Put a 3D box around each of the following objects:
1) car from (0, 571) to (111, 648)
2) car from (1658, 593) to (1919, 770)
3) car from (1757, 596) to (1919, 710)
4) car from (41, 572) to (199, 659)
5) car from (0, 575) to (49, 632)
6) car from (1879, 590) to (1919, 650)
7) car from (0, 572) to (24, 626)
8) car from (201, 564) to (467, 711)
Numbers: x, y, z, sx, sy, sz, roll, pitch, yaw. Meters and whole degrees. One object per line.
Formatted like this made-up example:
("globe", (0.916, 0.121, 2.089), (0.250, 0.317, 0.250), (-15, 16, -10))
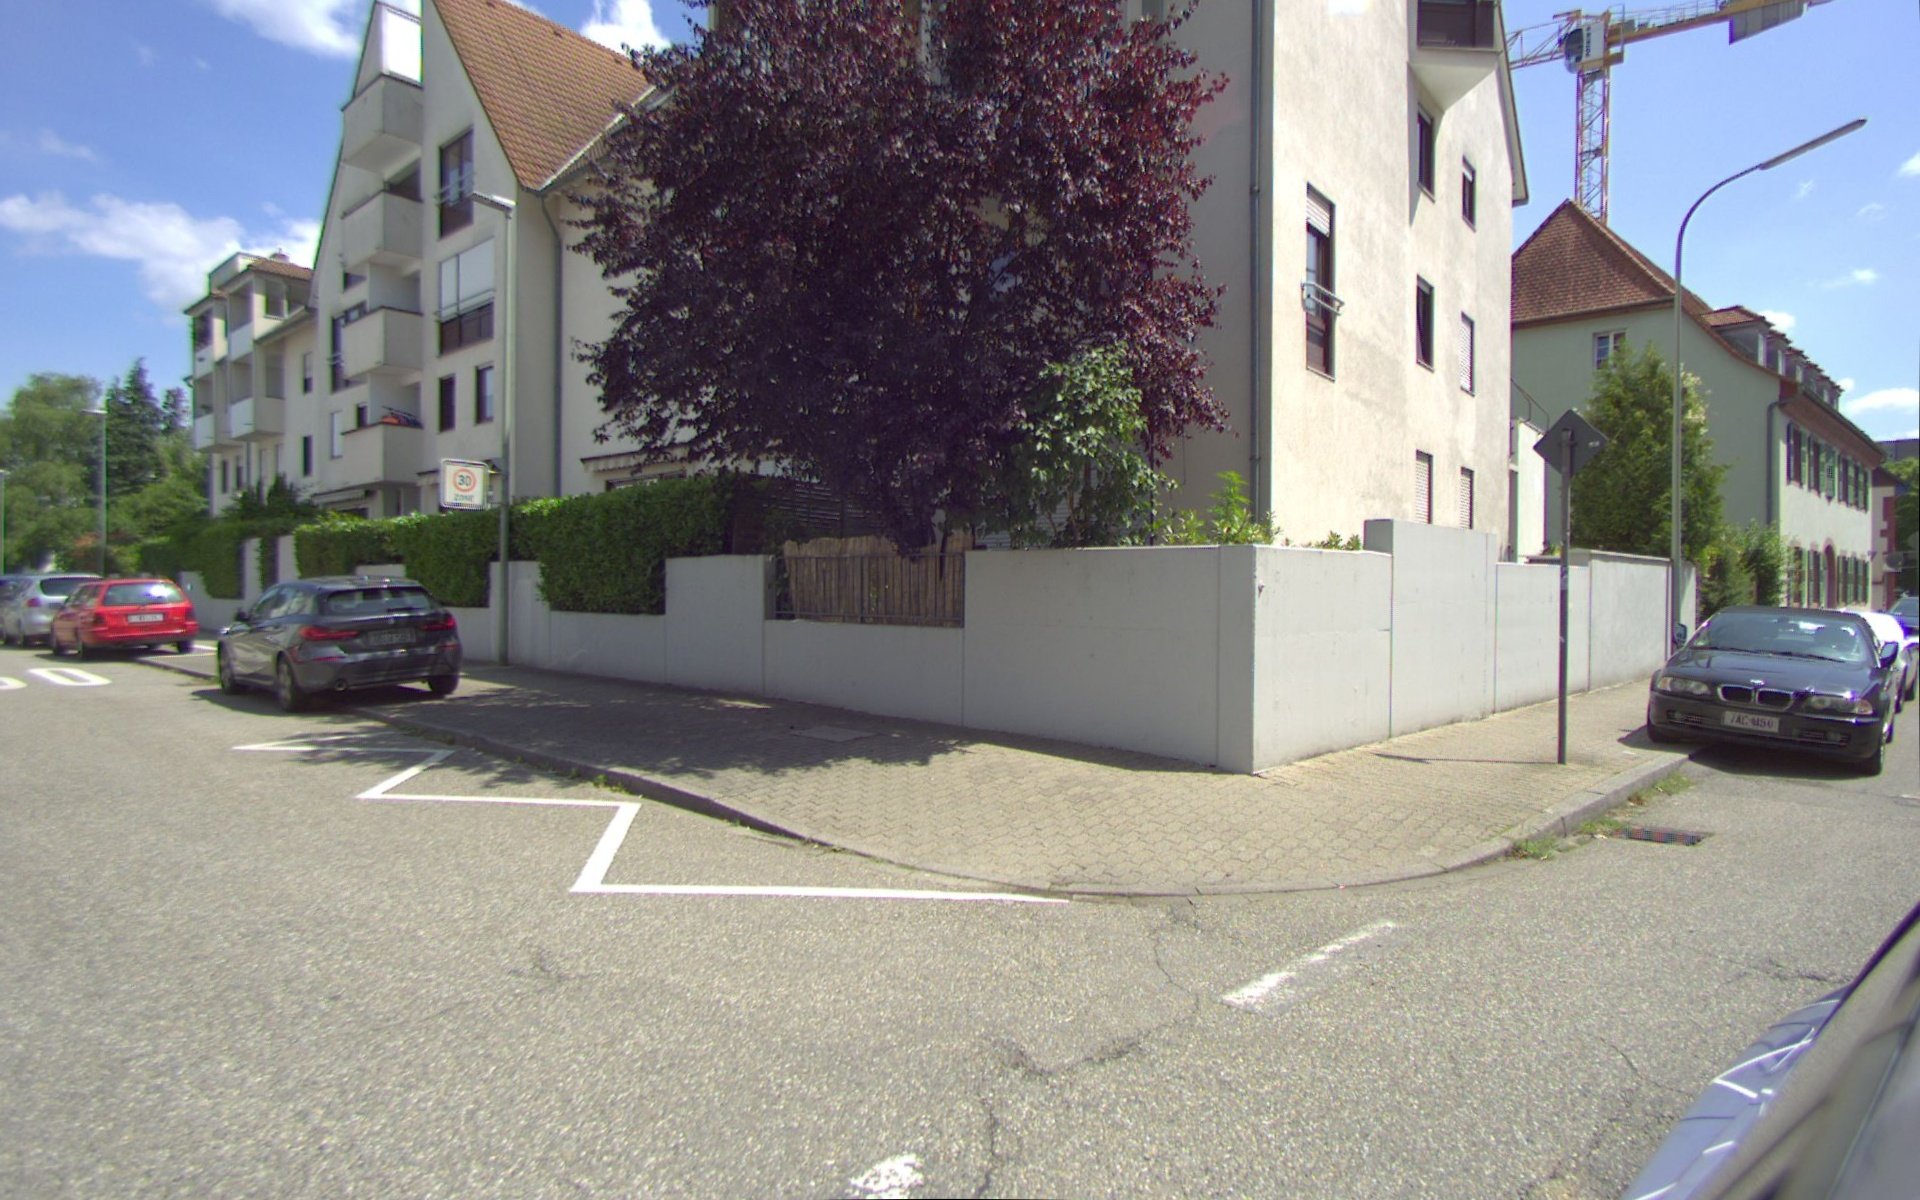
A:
("car", (-20.259, 0.162, 22.595), (3.771, 1.577, 1.512), (1, 1, 42))
("car", (8.455, 0.642, 10.163), (1.657, 1.393, 4.170), (1, 1, 45))
("car", (12.956, 0.658, 14.662), (3.757, 1.370, 1.587), (0, 3, -43))
("car", (-15.881, 0.237, 19.080), (3.768, 1.485, 1.630), (1, 1, 40))
("car", (-27.619, 0.077, 29.291), (3.771, 1.577, 1.512), (1, 1, 42))
("car", (26.186, 0.529, 27.108), (3.930, 1.534, 1.850), (0, 1, -41))
("car", (-31.716, -0.045, 32.961), (3.412, 1.697, 1.646), (1, 0, 44))
("car", (-7.734, 0.320, 12.360), (3.984, 1.486, 1.712), (2, 2, 42))
